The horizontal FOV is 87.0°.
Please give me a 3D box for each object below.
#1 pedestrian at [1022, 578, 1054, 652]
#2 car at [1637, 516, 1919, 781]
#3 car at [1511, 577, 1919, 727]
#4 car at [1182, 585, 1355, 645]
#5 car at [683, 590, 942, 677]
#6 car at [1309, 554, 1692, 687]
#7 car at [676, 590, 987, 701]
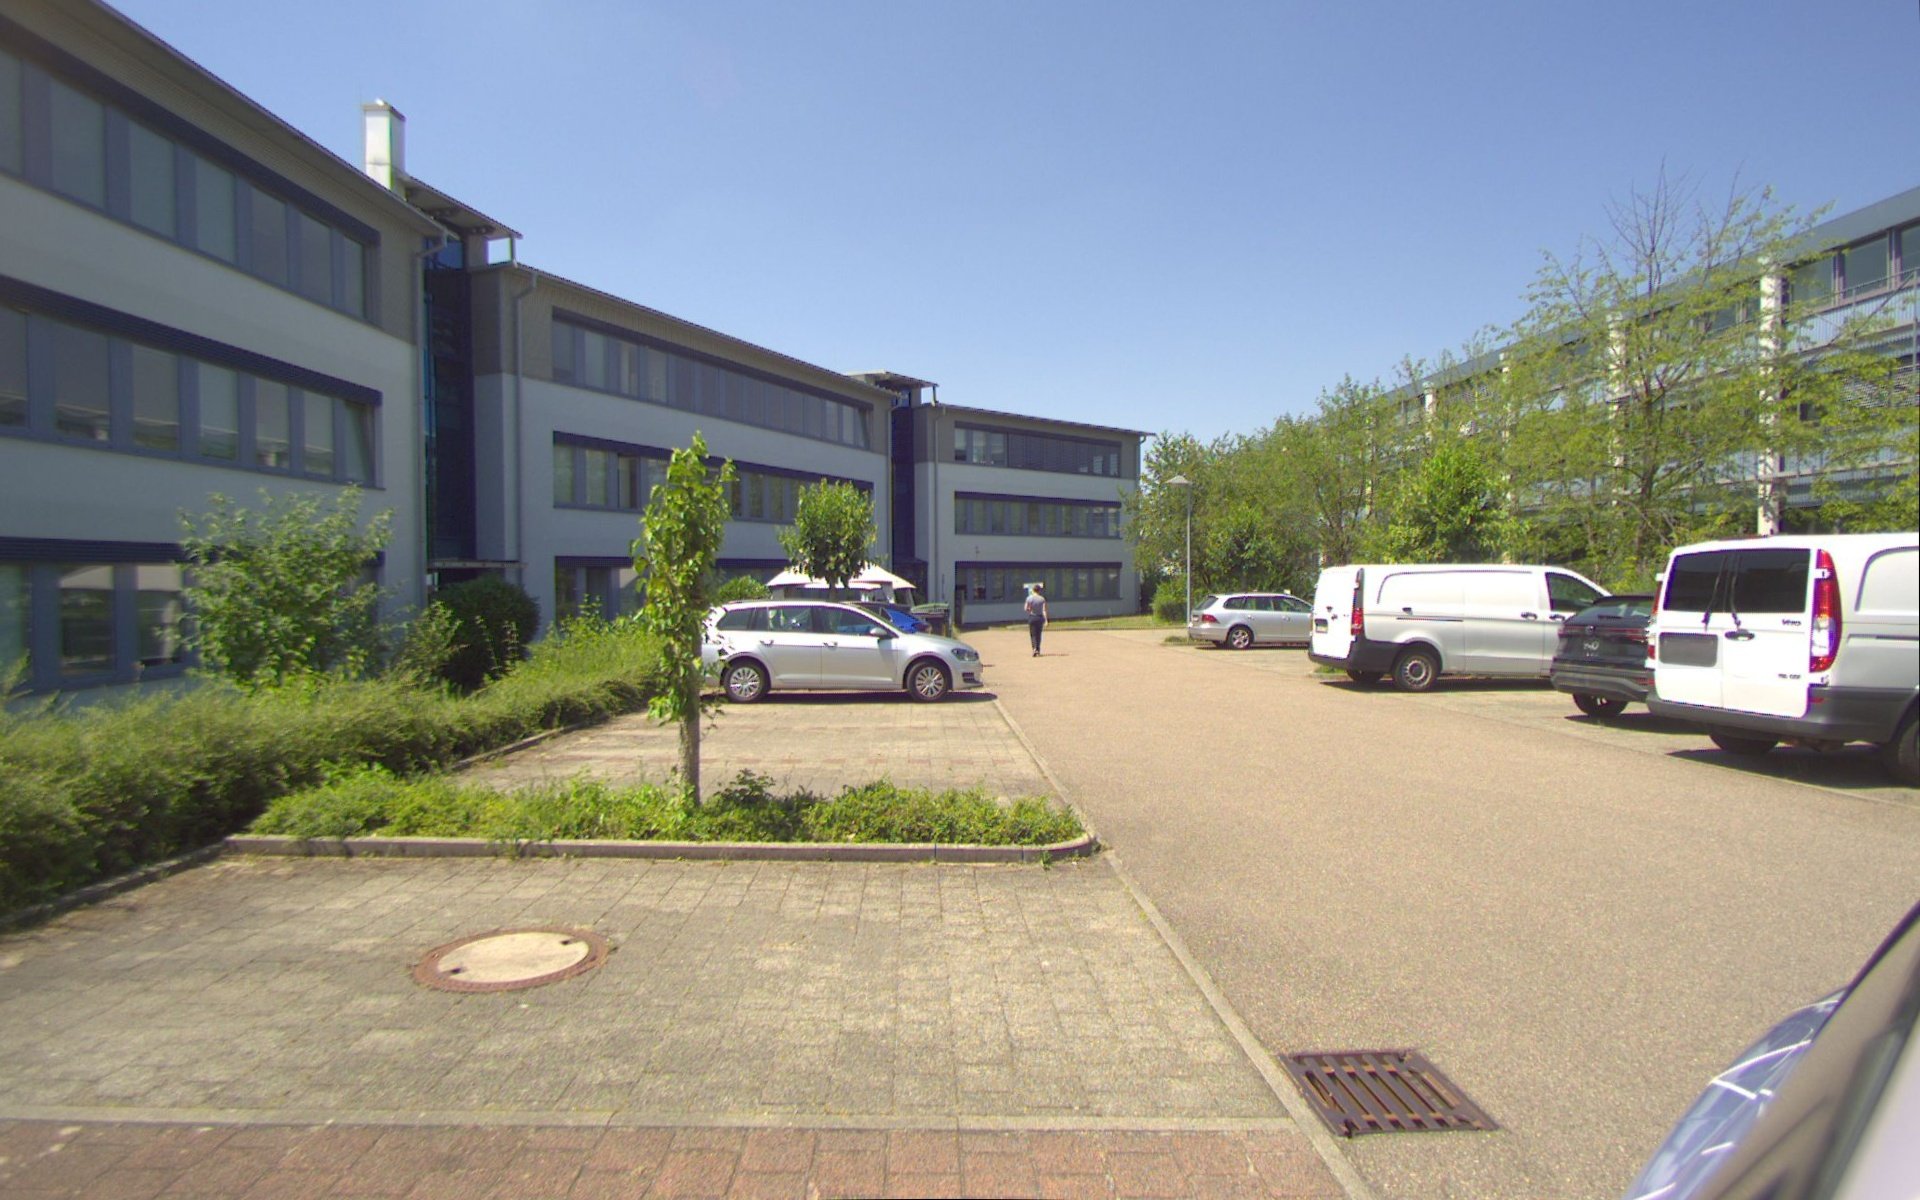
[{"bbox_3d":[1.895,0.354,24.780,0.685,1.779,0.777,-1,0,1],"label":"pedestrian"},{"bbox_3d":[8.413,0.325,8.230,4.585,1.883,1.869,0,0,-3],"label":"car"},{"bbox_3d":[8.648,0.520,11.229,4.115,1.503,1.741,0,0,-3],"label":"car"},{"bbox_3d":[8.033,0.371,26.607,4.008,1.503,1.739,0,0,1],"label":"car"},{"bbox_3d":[-2.622,0.584,18.666,4.522,1.513,1.858,0,0,-2],"label":"car"},{"bbox_3d":[8.118,0.291,15.533,4.841,1.879,1.857,0,0,0],"label":"car"},{"bbox_3d":[-1.835,0.640,15.116,4.341,1.539,1.858,0,0,-2],"label":"car"}]
